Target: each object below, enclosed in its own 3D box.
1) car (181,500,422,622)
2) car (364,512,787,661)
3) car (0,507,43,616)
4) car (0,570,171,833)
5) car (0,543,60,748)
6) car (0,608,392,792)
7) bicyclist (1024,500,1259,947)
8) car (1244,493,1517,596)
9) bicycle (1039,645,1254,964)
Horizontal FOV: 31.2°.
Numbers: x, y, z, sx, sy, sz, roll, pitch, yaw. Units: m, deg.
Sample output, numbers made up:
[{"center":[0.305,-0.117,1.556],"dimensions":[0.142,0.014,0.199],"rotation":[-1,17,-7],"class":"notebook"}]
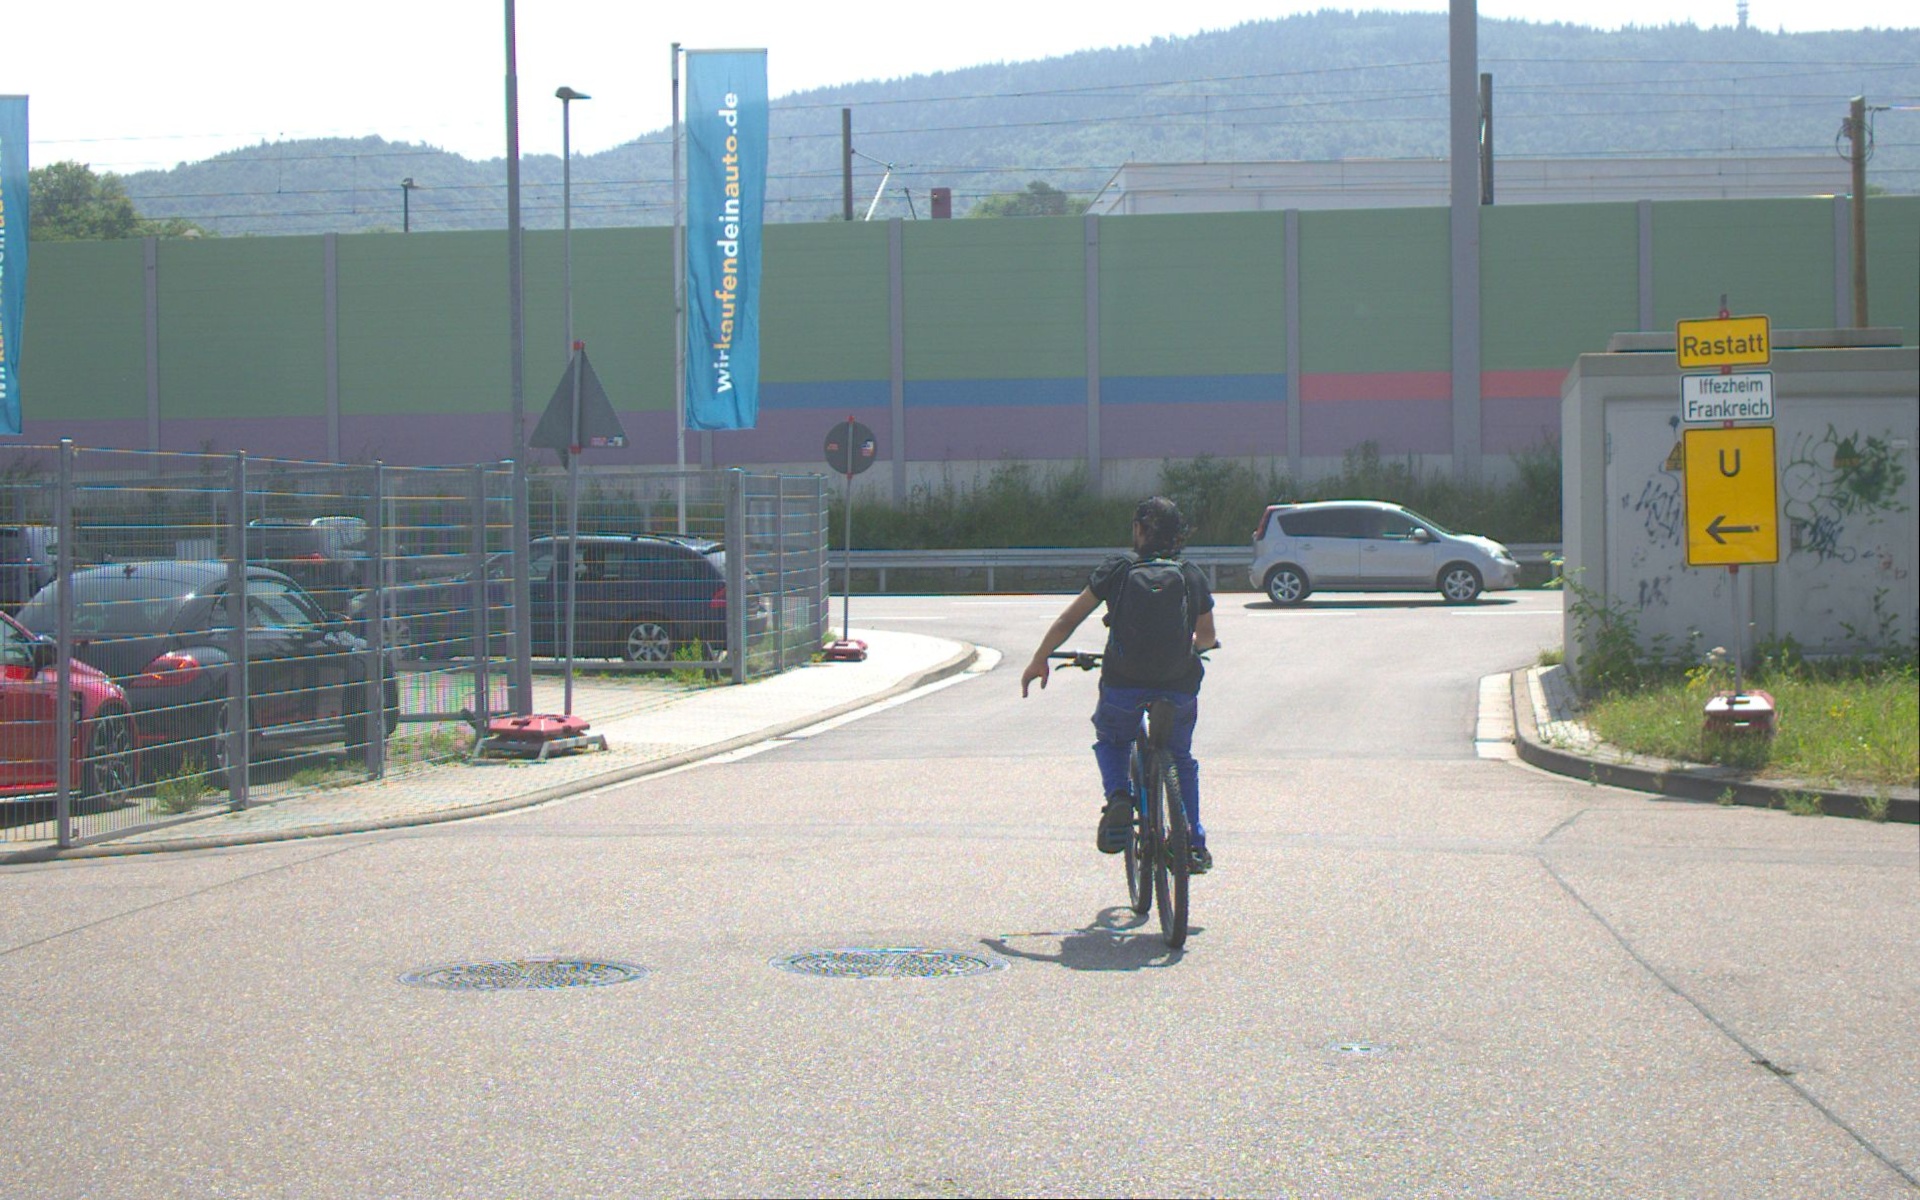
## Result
[{"center":[-8.994,-0.571,47.304],"dimensions":[1.994,1.576,3.999],"rotation":[-1,2,9],"class":"car"},{"center":[-4.040,-0.154,36.399],"dimensions":[3.989,1.487,1.999],"rotation":[0,2,14],"class":"car"},{"center":[-14.981,-0.525,49.419],"dimensions":[1.994,1.576,3.999],"rotation":[-1,2,9],"class":"car"},{"center":[-6.105,0.577,19.078],"dimensions":[1.870,1.382,4.112],"rotation":[0,2,10],"class":"car"},{"center":[-7.789,0.368,23.785],"dimensions":[1.484,1.449,3.893],"rotation":[0,2,10],"class":"car"},{"center":[-5.269,0.627,23.276],"dimensions":[1.484,1.003,4.112],"rotation":[0,2,10],"class":"car"},{"center":[0.664,0.442,12.943],"dimensions":[0.842,1.613,1.039],"rotation":[0,0,1],"class":"bicyclist"},{"center":[6.429,-0.857,52.386],"dimensions":[3.989,1.487,1.999],"rotation":[0,2,11],"class":"car"},{"center":[0.676,0.729,13.002],"dimensions":[0.685,1.048,1.901],"rotation":[-1,1,0],"class":"bicycle"}]
